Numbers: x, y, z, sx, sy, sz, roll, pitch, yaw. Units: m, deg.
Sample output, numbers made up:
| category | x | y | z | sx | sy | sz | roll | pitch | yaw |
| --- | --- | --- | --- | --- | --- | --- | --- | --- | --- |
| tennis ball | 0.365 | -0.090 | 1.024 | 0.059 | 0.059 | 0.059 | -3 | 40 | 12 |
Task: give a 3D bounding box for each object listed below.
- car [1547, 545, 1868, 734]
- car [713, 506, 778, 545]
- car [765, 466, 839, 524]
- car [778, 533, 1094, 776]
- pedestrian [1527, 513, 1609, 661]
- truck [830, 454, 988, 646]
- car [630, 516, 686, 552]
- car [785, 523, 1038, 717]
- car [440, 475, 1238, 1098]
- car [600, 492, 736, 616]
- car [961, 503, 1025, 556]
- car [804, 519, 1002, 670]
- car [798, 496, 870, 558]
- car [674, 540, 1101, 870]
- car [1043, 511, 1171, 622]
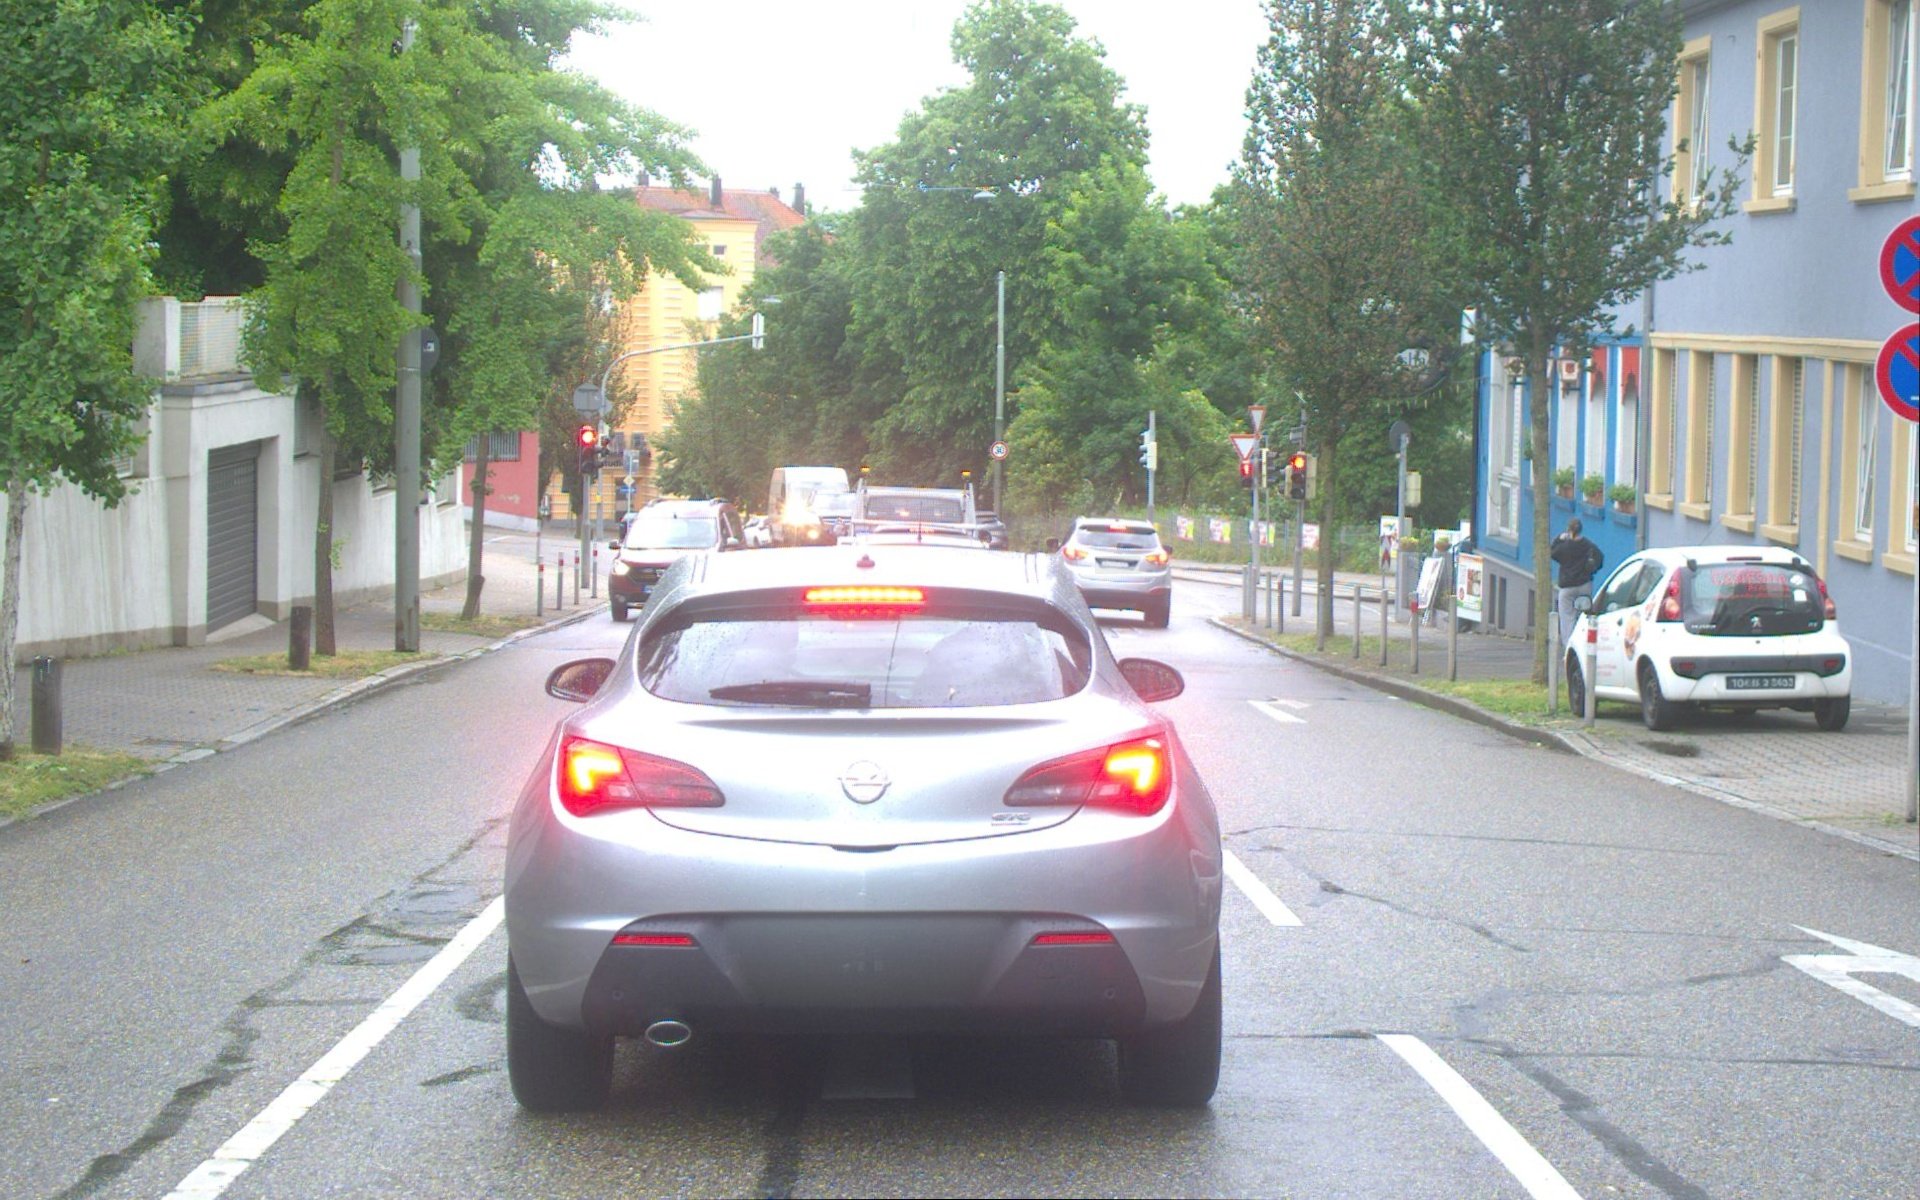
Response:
| category | x | y | z | sx | sy | sz | roll | pitch | yaw |
| --- | --- | --- | --- | --- | --- | --- | --- | --- | --- |
| car | 6.153 | 0.279 | 28.699 | 1.722 | 1.443 | 3.880 | 0 | 1 | -2 |
| car | -8.700 | -3.014 | 139.327 | 1.722 | 1.538 | 3.881 | 0 | 1 | -18 |
| car | -4.616 | -3.046 | 100.219 | 1.722 | 1.632 | 3.881 | 0 | 1 | -9 |
| car | -0.218 | 0.309 | 24.060 | 1.962 | 1.443 | 4.306 | 2 | 1 | -2 |
| pedestrian | 7.243 | -0.159 | 40.993 | 0.783 | 1.723 | 0.651 | 2 | 1 | 0 |
| truck | -0.733 | -0.715 | 47.090 | 1.962 | 2.420 | 4.936 | 2 | 1 | -2 |
| car | -13.906 | -3.051 | 158.097 | 1.722 | 1.632 | 3.881 | 0 | 1 | -18 |
| car | -0.448 | 0.111 | 29.439 | 1.962 | 1.443 | 4.306 | 2 | 1 | -2 |
| car | -0.361 | 0.398 | 9.963 | 1.837 | 1.429 | 3.880 | 1 | 1 | -2 |
| car | -4.461 | -0.711 | 53.036 | 1.746 | 1.822 | 4.459 | -1 | 1 | -1 |
| car | 1.016 | -2.227 | 108.891 | 1.722 | 1.632 | 3.880 | 0 | 1 | -4 |
| car | -0.644 | -0.104 | 37.098 | 1.962 | 1.443 | 4.306 | 2 | 1 | -2 |
| car | -3.381 | -1.959 | 92.599 | 1.870 | 1.632 | 3.880 | 0 | 1 | -2 |
| car | -0.405 | 0.460 | 18.340 | 1.962 | 1.443 | 4.306 | 2 | 1 | -2 |
| car | 2.322 | -0.555 | 55.125 | 1.722 | 1.708 | 3.880 | 0 | 1 | -2 |
